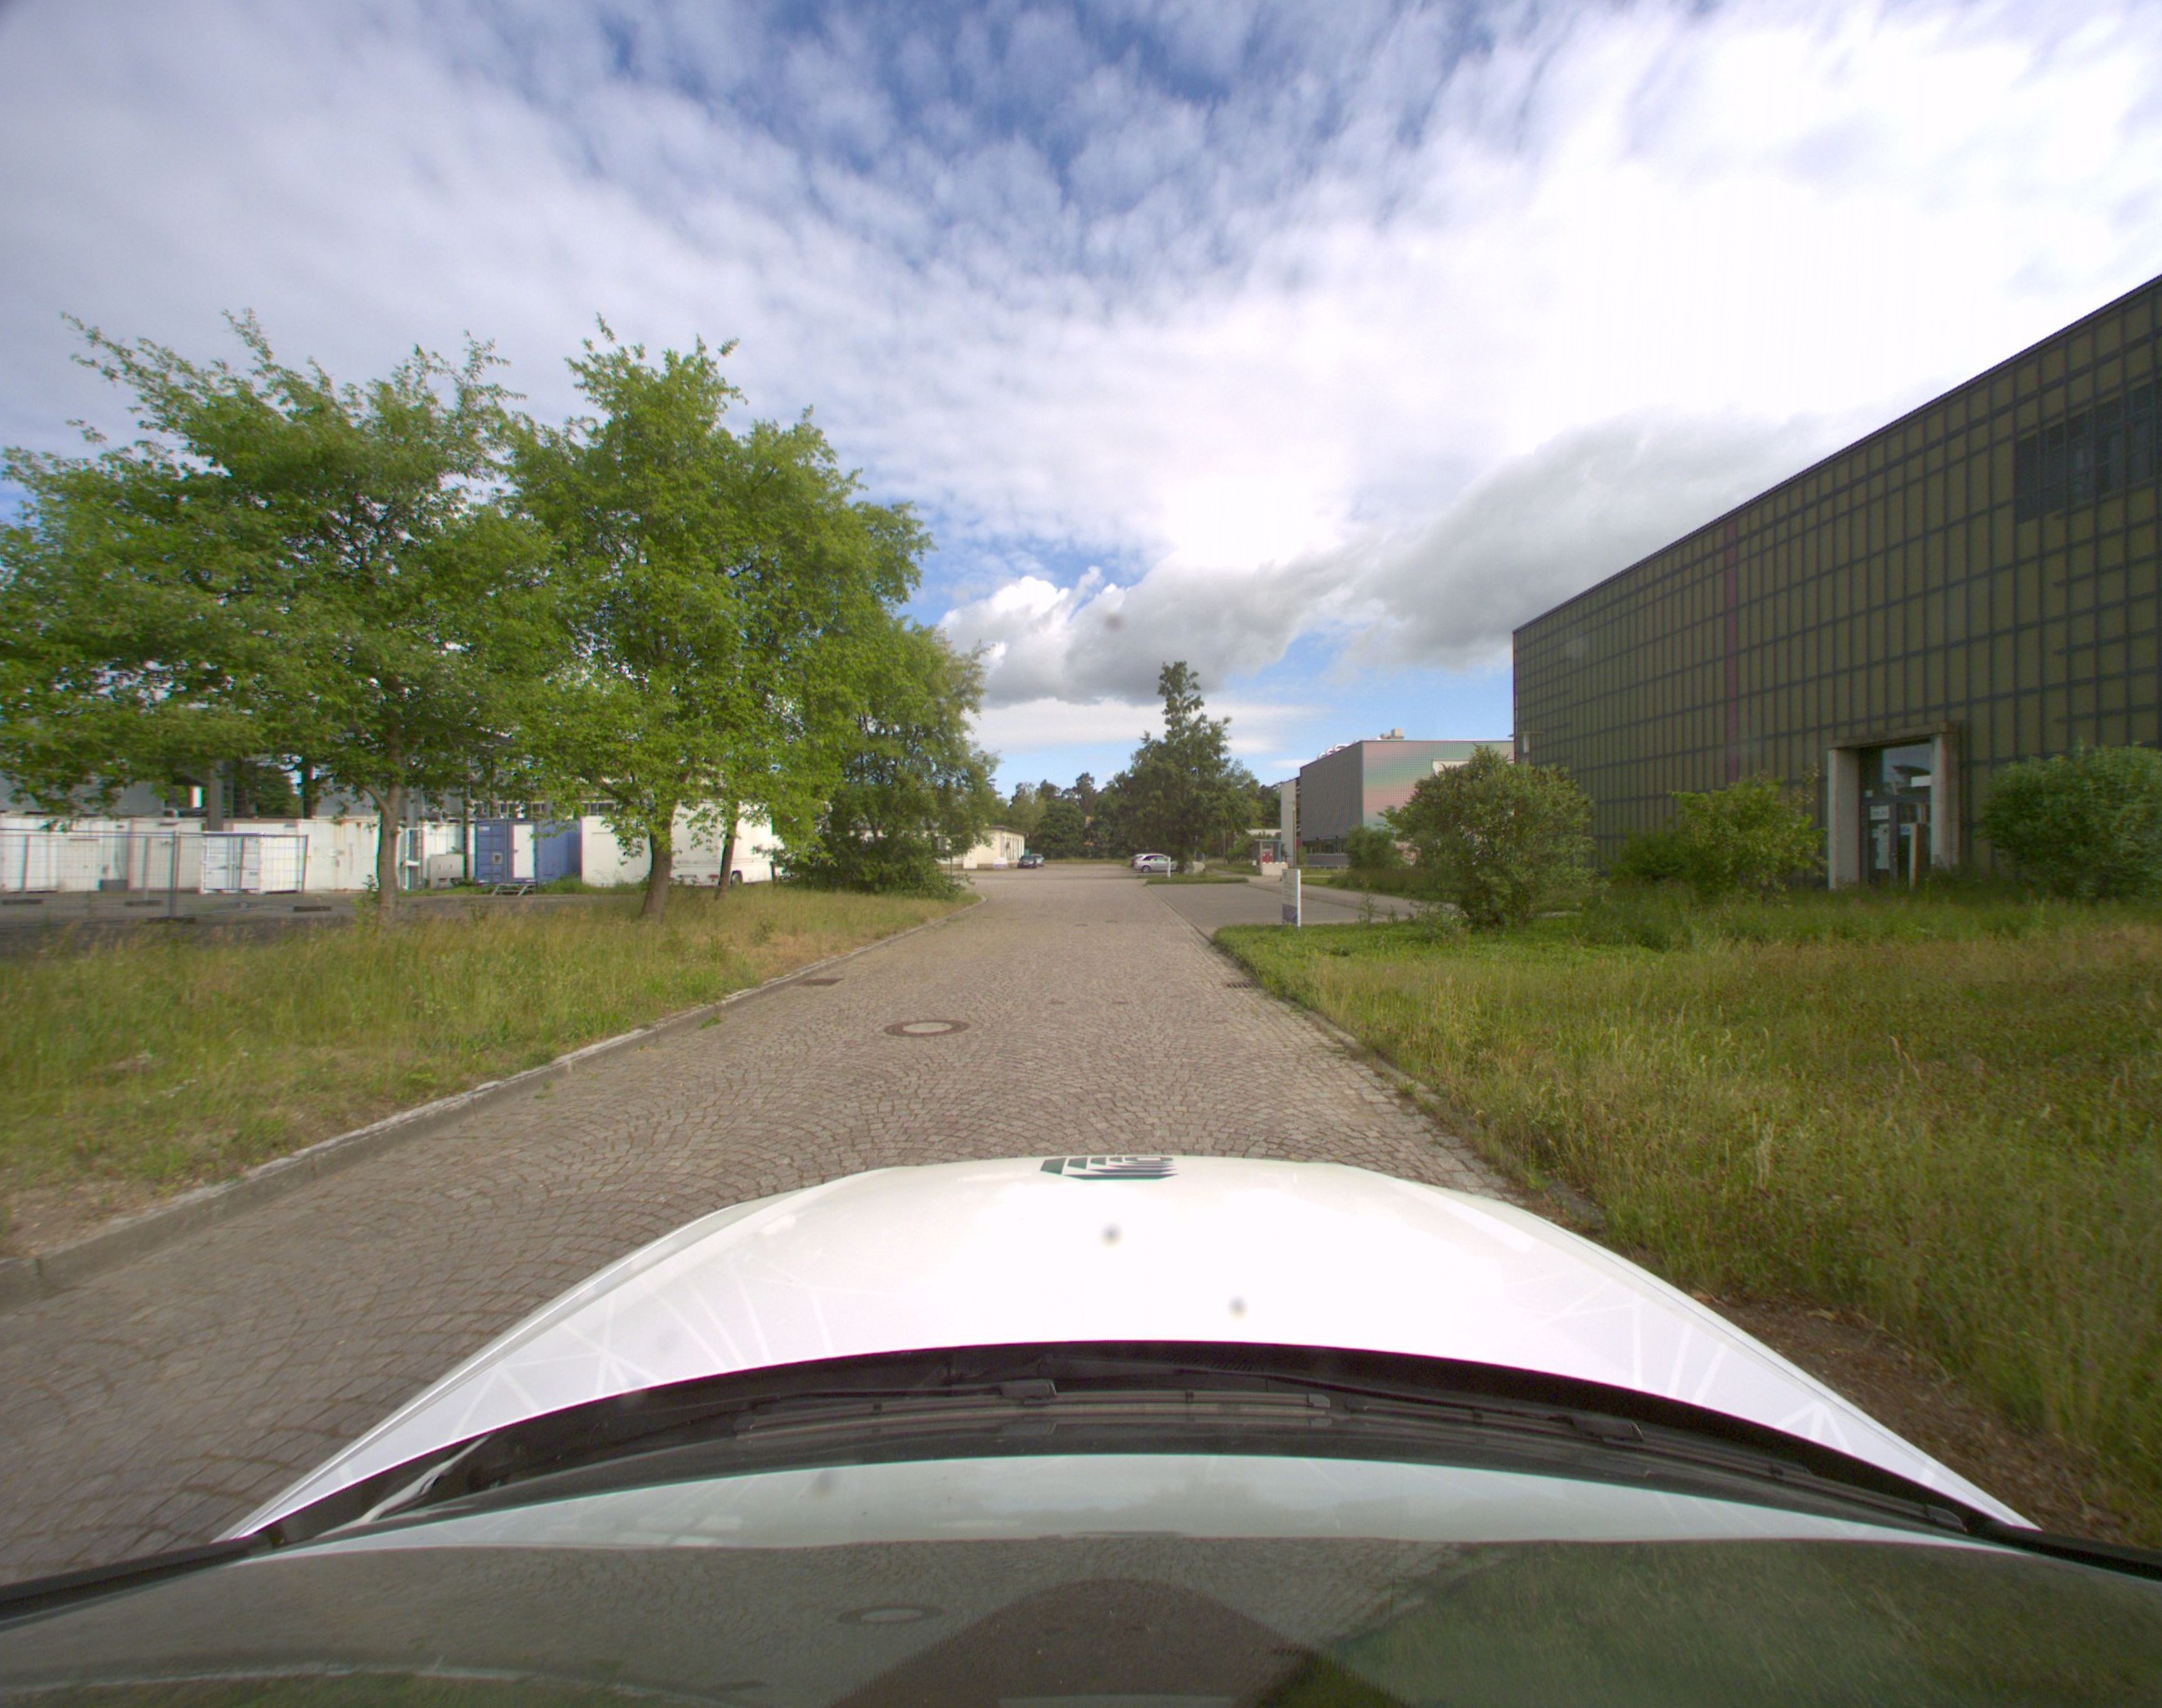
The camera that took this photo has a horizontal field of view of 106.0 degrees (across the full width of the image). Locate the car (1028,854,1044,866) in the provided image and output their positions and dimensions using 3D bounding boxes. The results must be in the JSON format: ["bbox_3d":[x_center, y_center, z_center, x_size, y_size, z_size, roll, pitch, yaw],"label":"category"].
[{"bbox_3d":[-5.348,0.681,97.553,1.641,1.458,3.999,0,0,2],"label":"car"}]

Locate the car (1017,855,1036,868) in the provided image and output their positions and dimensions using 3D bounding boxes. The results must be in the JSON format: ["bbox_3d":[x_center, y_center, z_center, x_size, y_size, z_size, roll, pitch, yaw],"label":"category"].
[{"bbox_3d":[-5.763,0.753,87.175,1.641,1.369,3.999,0,0,2],"label":"car"}]

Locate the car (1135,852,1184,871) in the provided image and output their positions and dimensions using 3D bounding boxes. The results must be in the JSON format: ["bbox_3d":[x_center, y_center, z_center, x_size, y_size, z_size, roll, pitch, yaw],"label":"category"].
[{"bbox_3d":[6.571,0.594,68.110,3.969,1.448,1.654,-2,0,2],"label":"car"}]

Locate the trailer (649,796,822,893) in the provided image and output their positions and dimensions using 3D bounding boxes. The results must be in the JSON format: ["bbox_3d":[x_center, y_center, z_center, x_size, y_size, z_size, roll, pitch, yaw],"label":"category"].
[{"bbox_3d":[-14.558,-0.352,35.603,2.614,3.598,10.188,0,0,4],"label":"trailer"}]

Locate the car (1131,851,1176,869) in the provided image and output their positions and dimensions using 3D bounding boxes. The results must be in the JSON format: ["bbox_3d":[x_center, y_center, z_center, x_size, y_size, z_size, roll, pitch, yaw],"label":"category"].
[{"bbox_3d":[6.483,0.537,73.247,3.969,1.475,1.654,-2,0,2],"label":"car"}]

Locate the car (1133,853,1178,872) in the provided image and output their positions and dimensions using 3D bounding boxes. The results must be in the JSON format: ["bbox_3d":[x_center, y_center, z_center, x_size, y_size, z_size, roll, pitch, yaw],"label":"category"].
[{"bbox_3d":[5.953,0.699,65.426,3.509,1.362,1.623,-2,0,2],"label":"car"}]
